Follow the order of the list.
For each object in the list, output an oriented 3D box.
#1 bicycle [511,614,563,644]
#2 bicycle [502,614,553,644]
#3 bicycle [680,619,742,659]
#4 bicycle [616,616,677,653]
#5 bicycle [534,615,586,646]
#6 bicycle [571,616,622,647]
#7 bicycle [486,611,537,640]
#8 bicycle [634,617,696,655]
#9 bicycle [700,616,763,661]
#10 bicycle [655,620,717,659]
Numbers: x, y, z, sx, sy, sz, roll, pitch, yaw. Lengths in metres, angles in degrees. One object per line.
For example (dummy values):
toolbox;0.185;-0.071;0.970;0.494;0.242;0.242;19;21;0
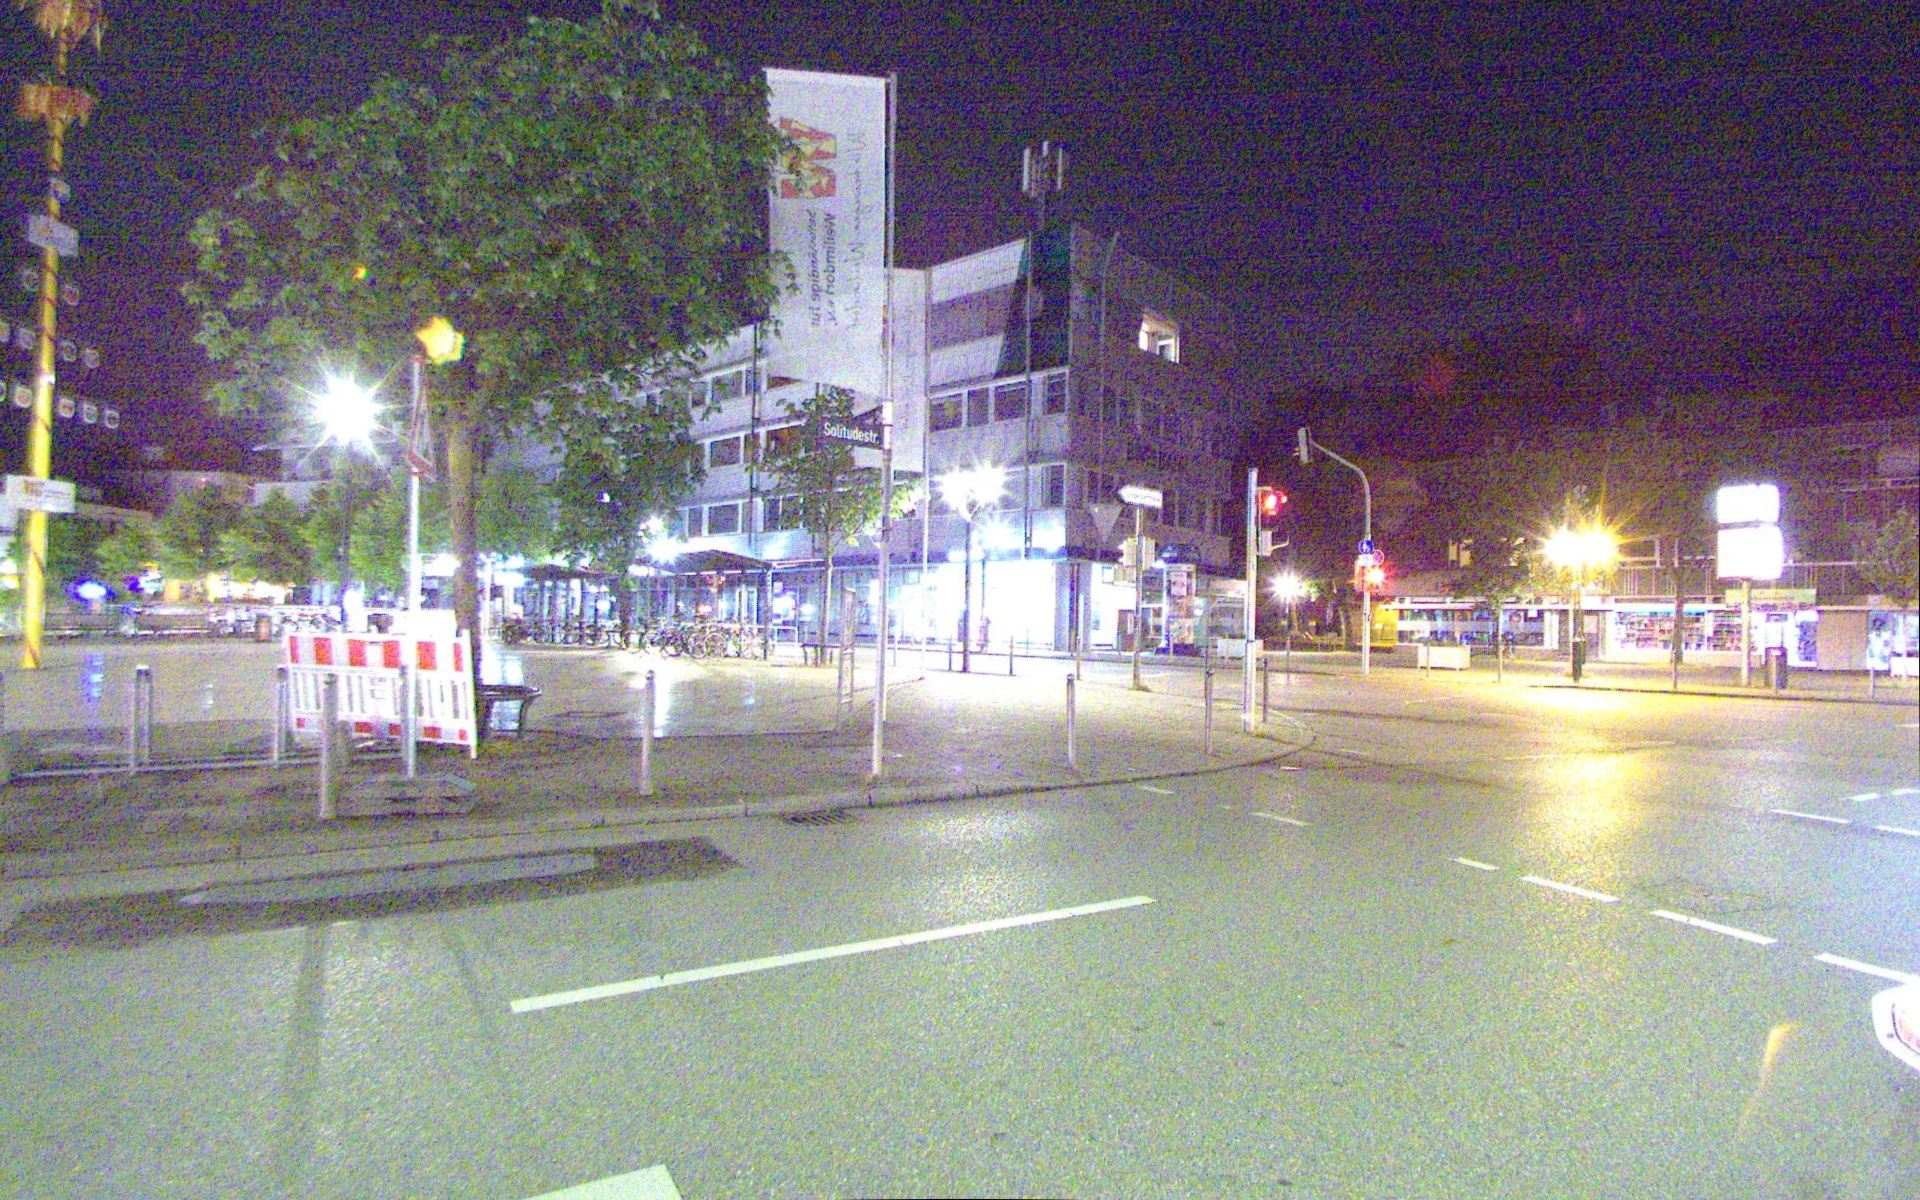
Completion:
bicycle;-14.194;0.988;33.731;0.473;0.970;1.525;2;0;43
bicycle;-14.794;0.997;34.352;0.473;0.970;1.525;2;0;43
bicycle;-6.322;0.990;25.578;0.440;0.970;1.525;2;0;43
bicycle;-8.541;0.942;27.417;0.473;0.970;1.525;2;0;43
bicycle;-13.162;1.001;33.099;0.473;0.970;1.525;2;0;43
bicycle;-11.965;1.037;33.072;0.473;0.970;1.525;2;0;43
bicycle;-15.562;0.880;34.876;0.473;0.970;1.525;2;0;43
bicycle;-7.860;0.959;26.816;0.473;0.970;1.525;2;0;43
bicycle;-5.660;0.948;24.919;0.440;1.068;1.525;2;0;43
bicycle;-7.111;1.011;26.129;0.473;0.970;1.525;2;0;43
